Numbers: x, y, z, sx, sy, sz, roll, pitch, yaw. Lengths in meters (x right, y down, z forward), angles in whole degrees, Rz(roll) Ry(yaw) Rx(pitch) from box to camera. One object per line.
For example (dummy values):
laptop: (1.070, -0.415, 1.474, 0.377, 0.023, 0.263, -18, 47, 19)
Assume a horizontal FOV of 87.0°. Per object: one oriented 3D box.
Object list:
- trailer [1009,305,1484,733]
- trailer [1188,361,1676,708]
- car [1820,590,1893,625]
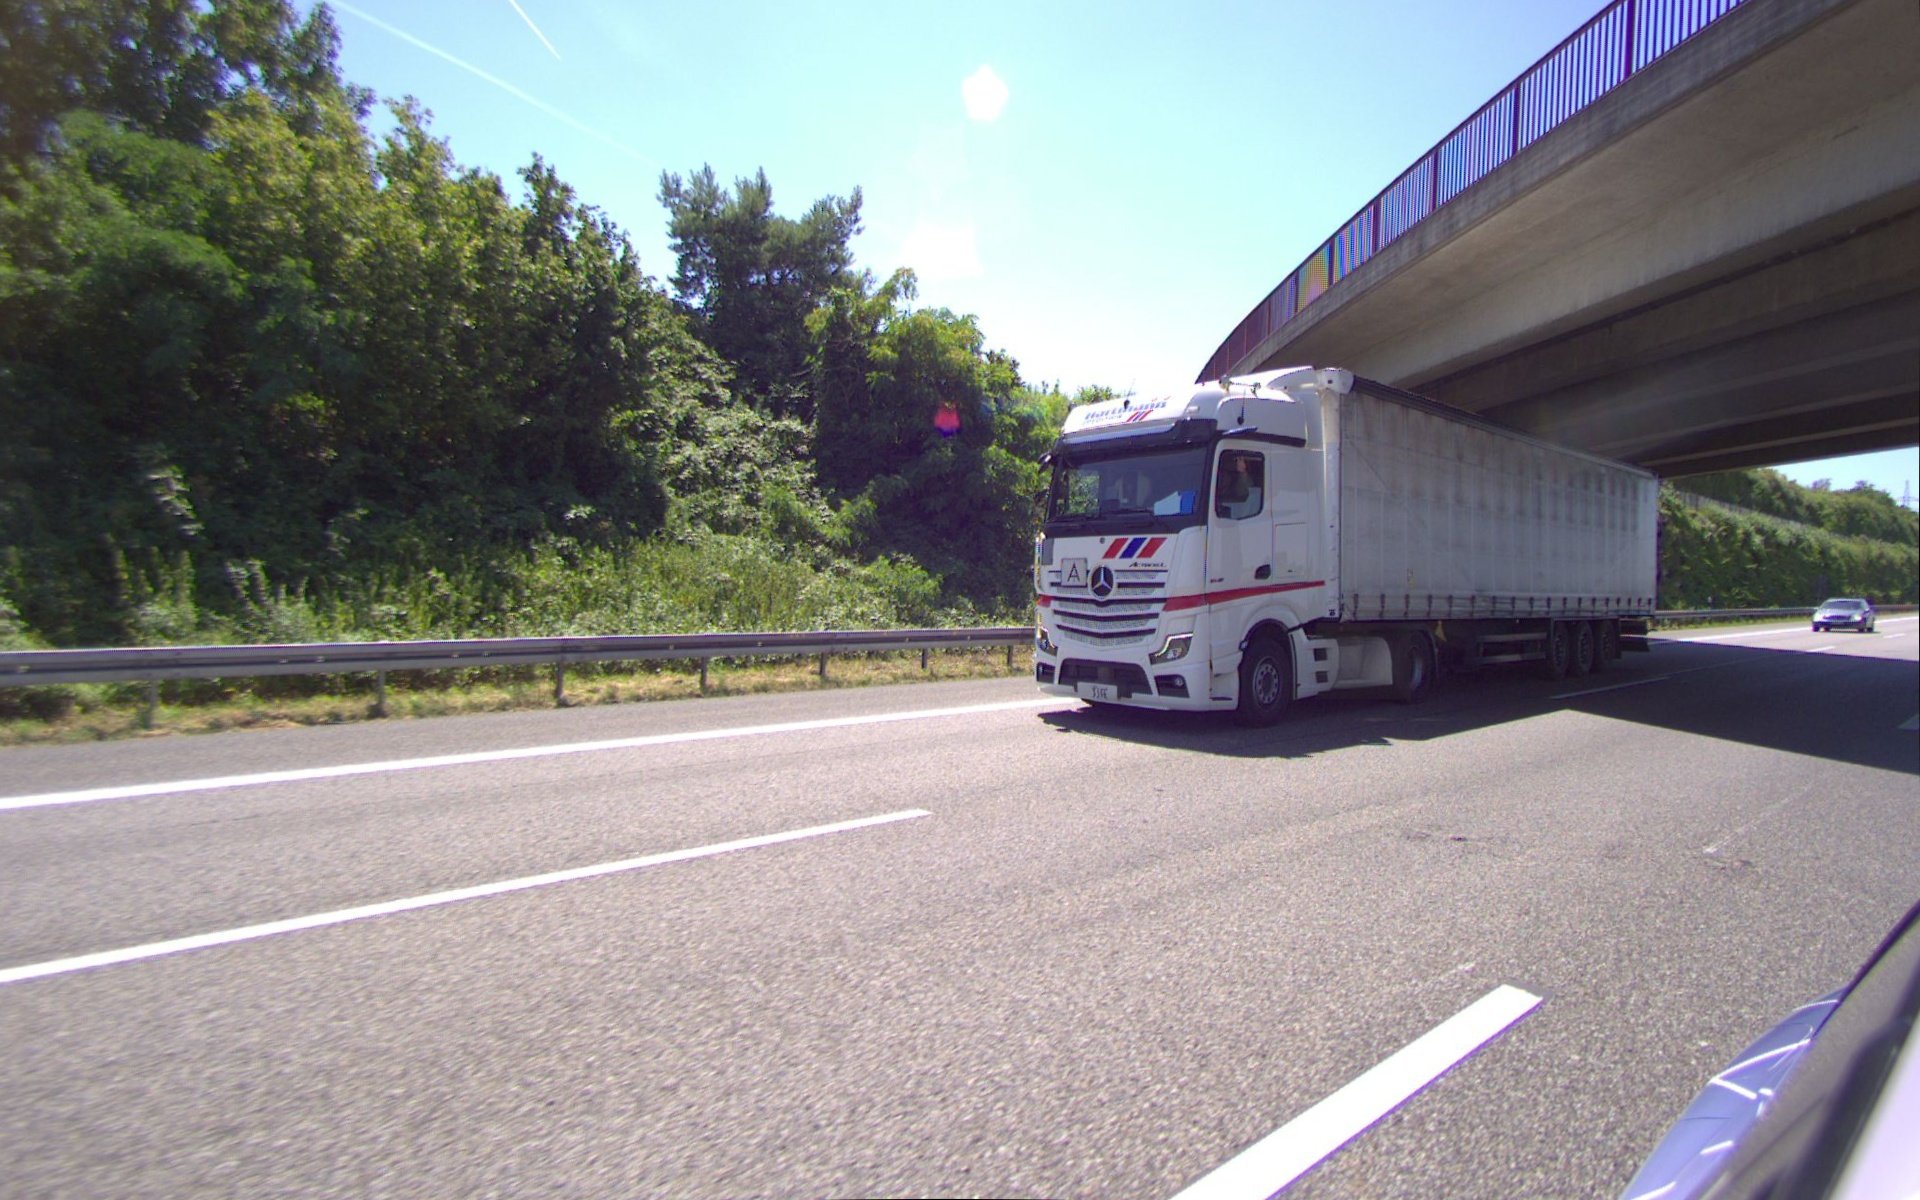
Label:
trailer: (3.973, -0.832, 13.066, 6.672, 4.154, 2.718, 0, 1, -42)
trailer: (8.942, -0.854, 17.497, 12.962, 4.153, 2.733, 0, 1, -42)
car: (38.517, 0.296, 43.440, 4.480, 1.429, 1.838, 0, 1, -42)
